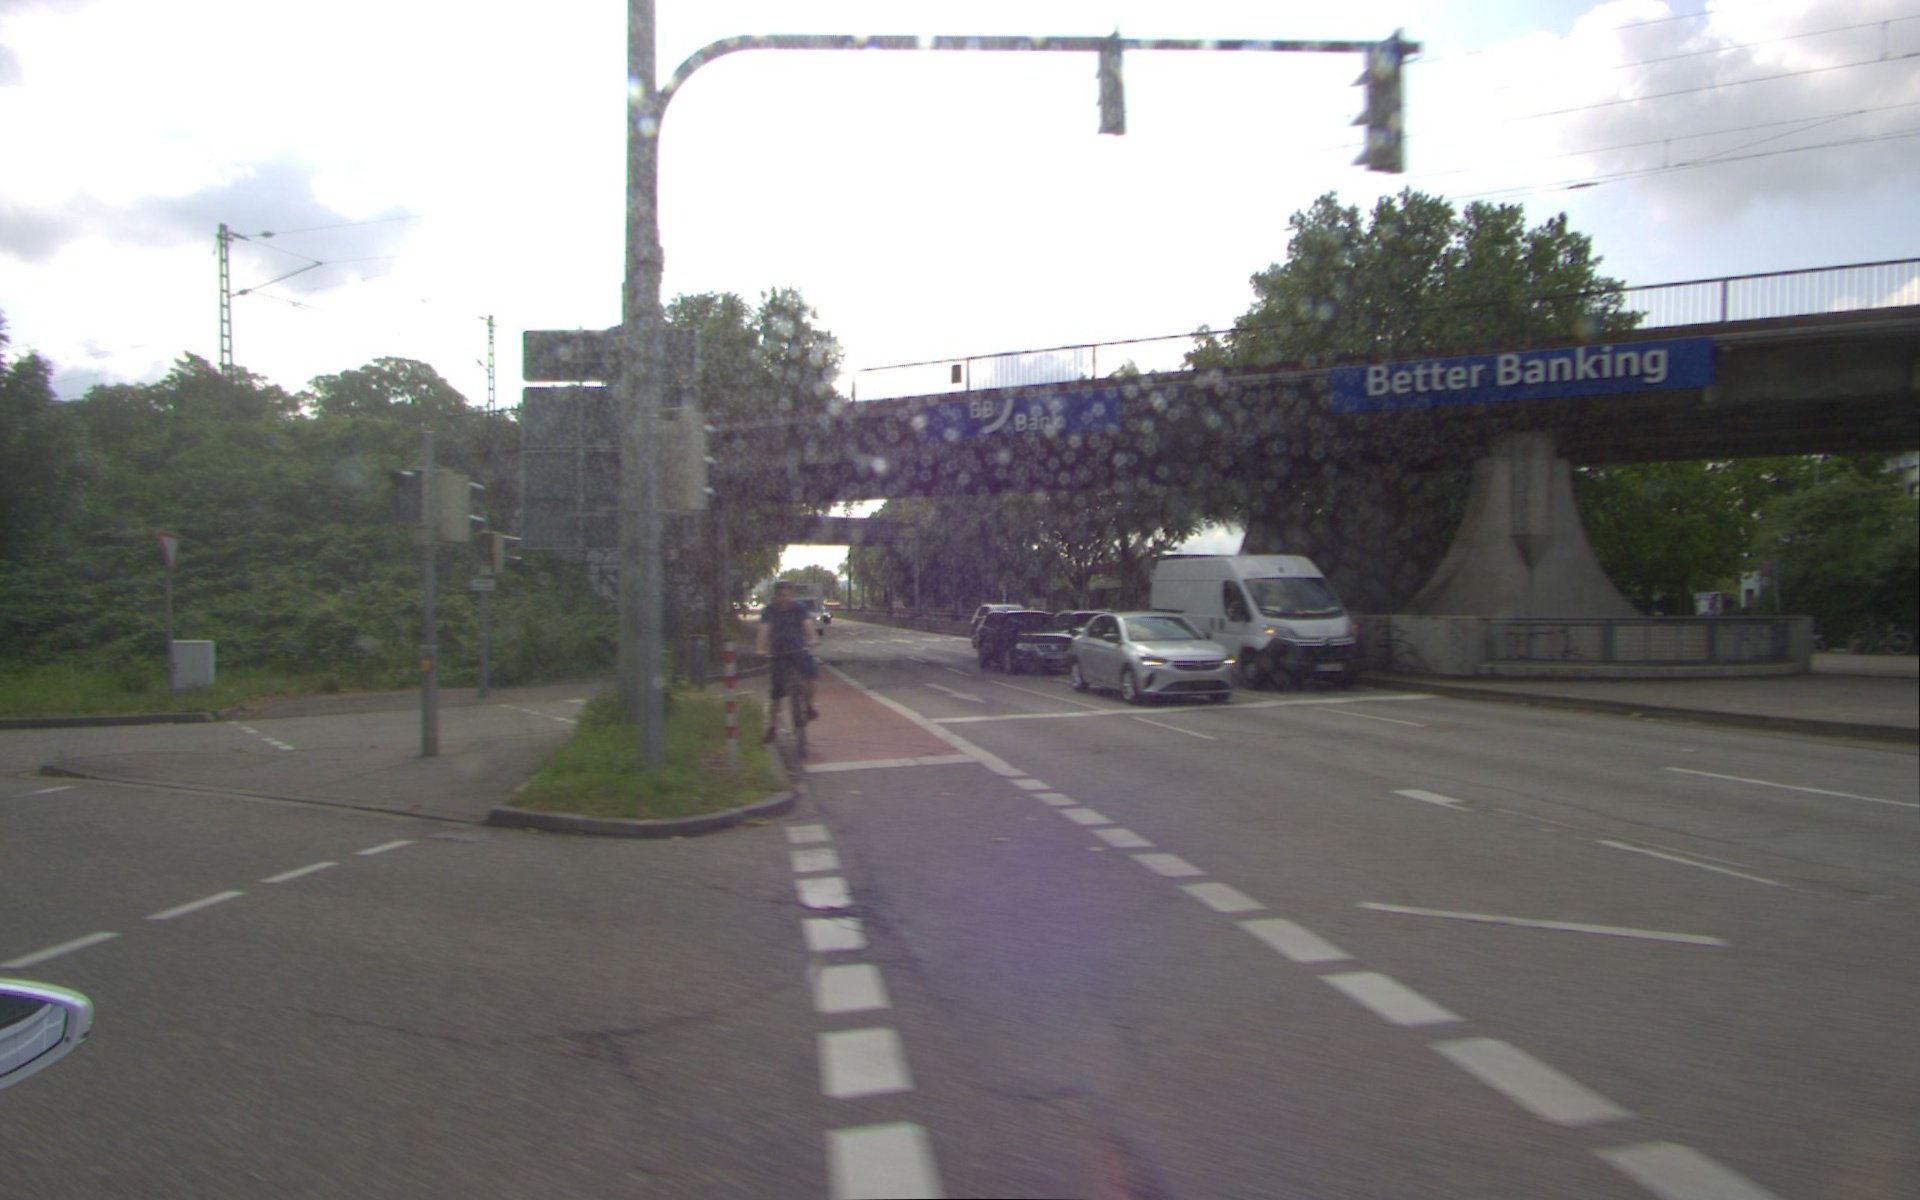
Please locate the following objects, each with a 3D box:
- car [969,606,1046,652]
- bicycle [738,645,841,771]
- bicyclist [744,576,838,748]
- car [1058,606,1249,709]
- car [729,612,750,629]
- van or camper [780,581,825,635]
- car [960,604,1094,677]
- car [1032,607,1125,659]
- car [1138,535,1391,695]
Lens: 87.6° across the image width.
[{"bbox_3d":[1.653,1.006,36.656,1.819,1.596,4.312,0,0,-11],"label":"car"},{"bbox_3d":[-1.750,1.070,10.634,0.829,1.107,2.319,-4,-2,-5],"label":"bicycle"},{"bbox_3d":[-1.785,0.647,10.700,0.829,1.700,0.824,-4,-1,-5],"label":"bicyclist"},{"bbox_3d":[3.110,0.886,16.971,1.677,1.496,3.996,-1,-1,-13],"label":"car"},{"bbox_3d":[-19.185,1.768,87.068,1.690,1.461,3.995,0,-1,-14],"label":"car"},{"bbox_3d":[-9.642,0.496,61.153,2.615,3.121,5.744,0,0,-10],"label":"van or camper"},{"bbox_3d":[1.519,0.932,24.702,1.740,1.604,4.654,1,0,-17],"label":"car"},{"bbox_3d":[3.386,0.921,29.294,1.620,1.416,3.735,0,0,-11],"label":"car"},{"bbox_3d":[5.718,0.365,19.869,2.223,2.558,5.625,-5,-2,-11],"label":"car"}]
